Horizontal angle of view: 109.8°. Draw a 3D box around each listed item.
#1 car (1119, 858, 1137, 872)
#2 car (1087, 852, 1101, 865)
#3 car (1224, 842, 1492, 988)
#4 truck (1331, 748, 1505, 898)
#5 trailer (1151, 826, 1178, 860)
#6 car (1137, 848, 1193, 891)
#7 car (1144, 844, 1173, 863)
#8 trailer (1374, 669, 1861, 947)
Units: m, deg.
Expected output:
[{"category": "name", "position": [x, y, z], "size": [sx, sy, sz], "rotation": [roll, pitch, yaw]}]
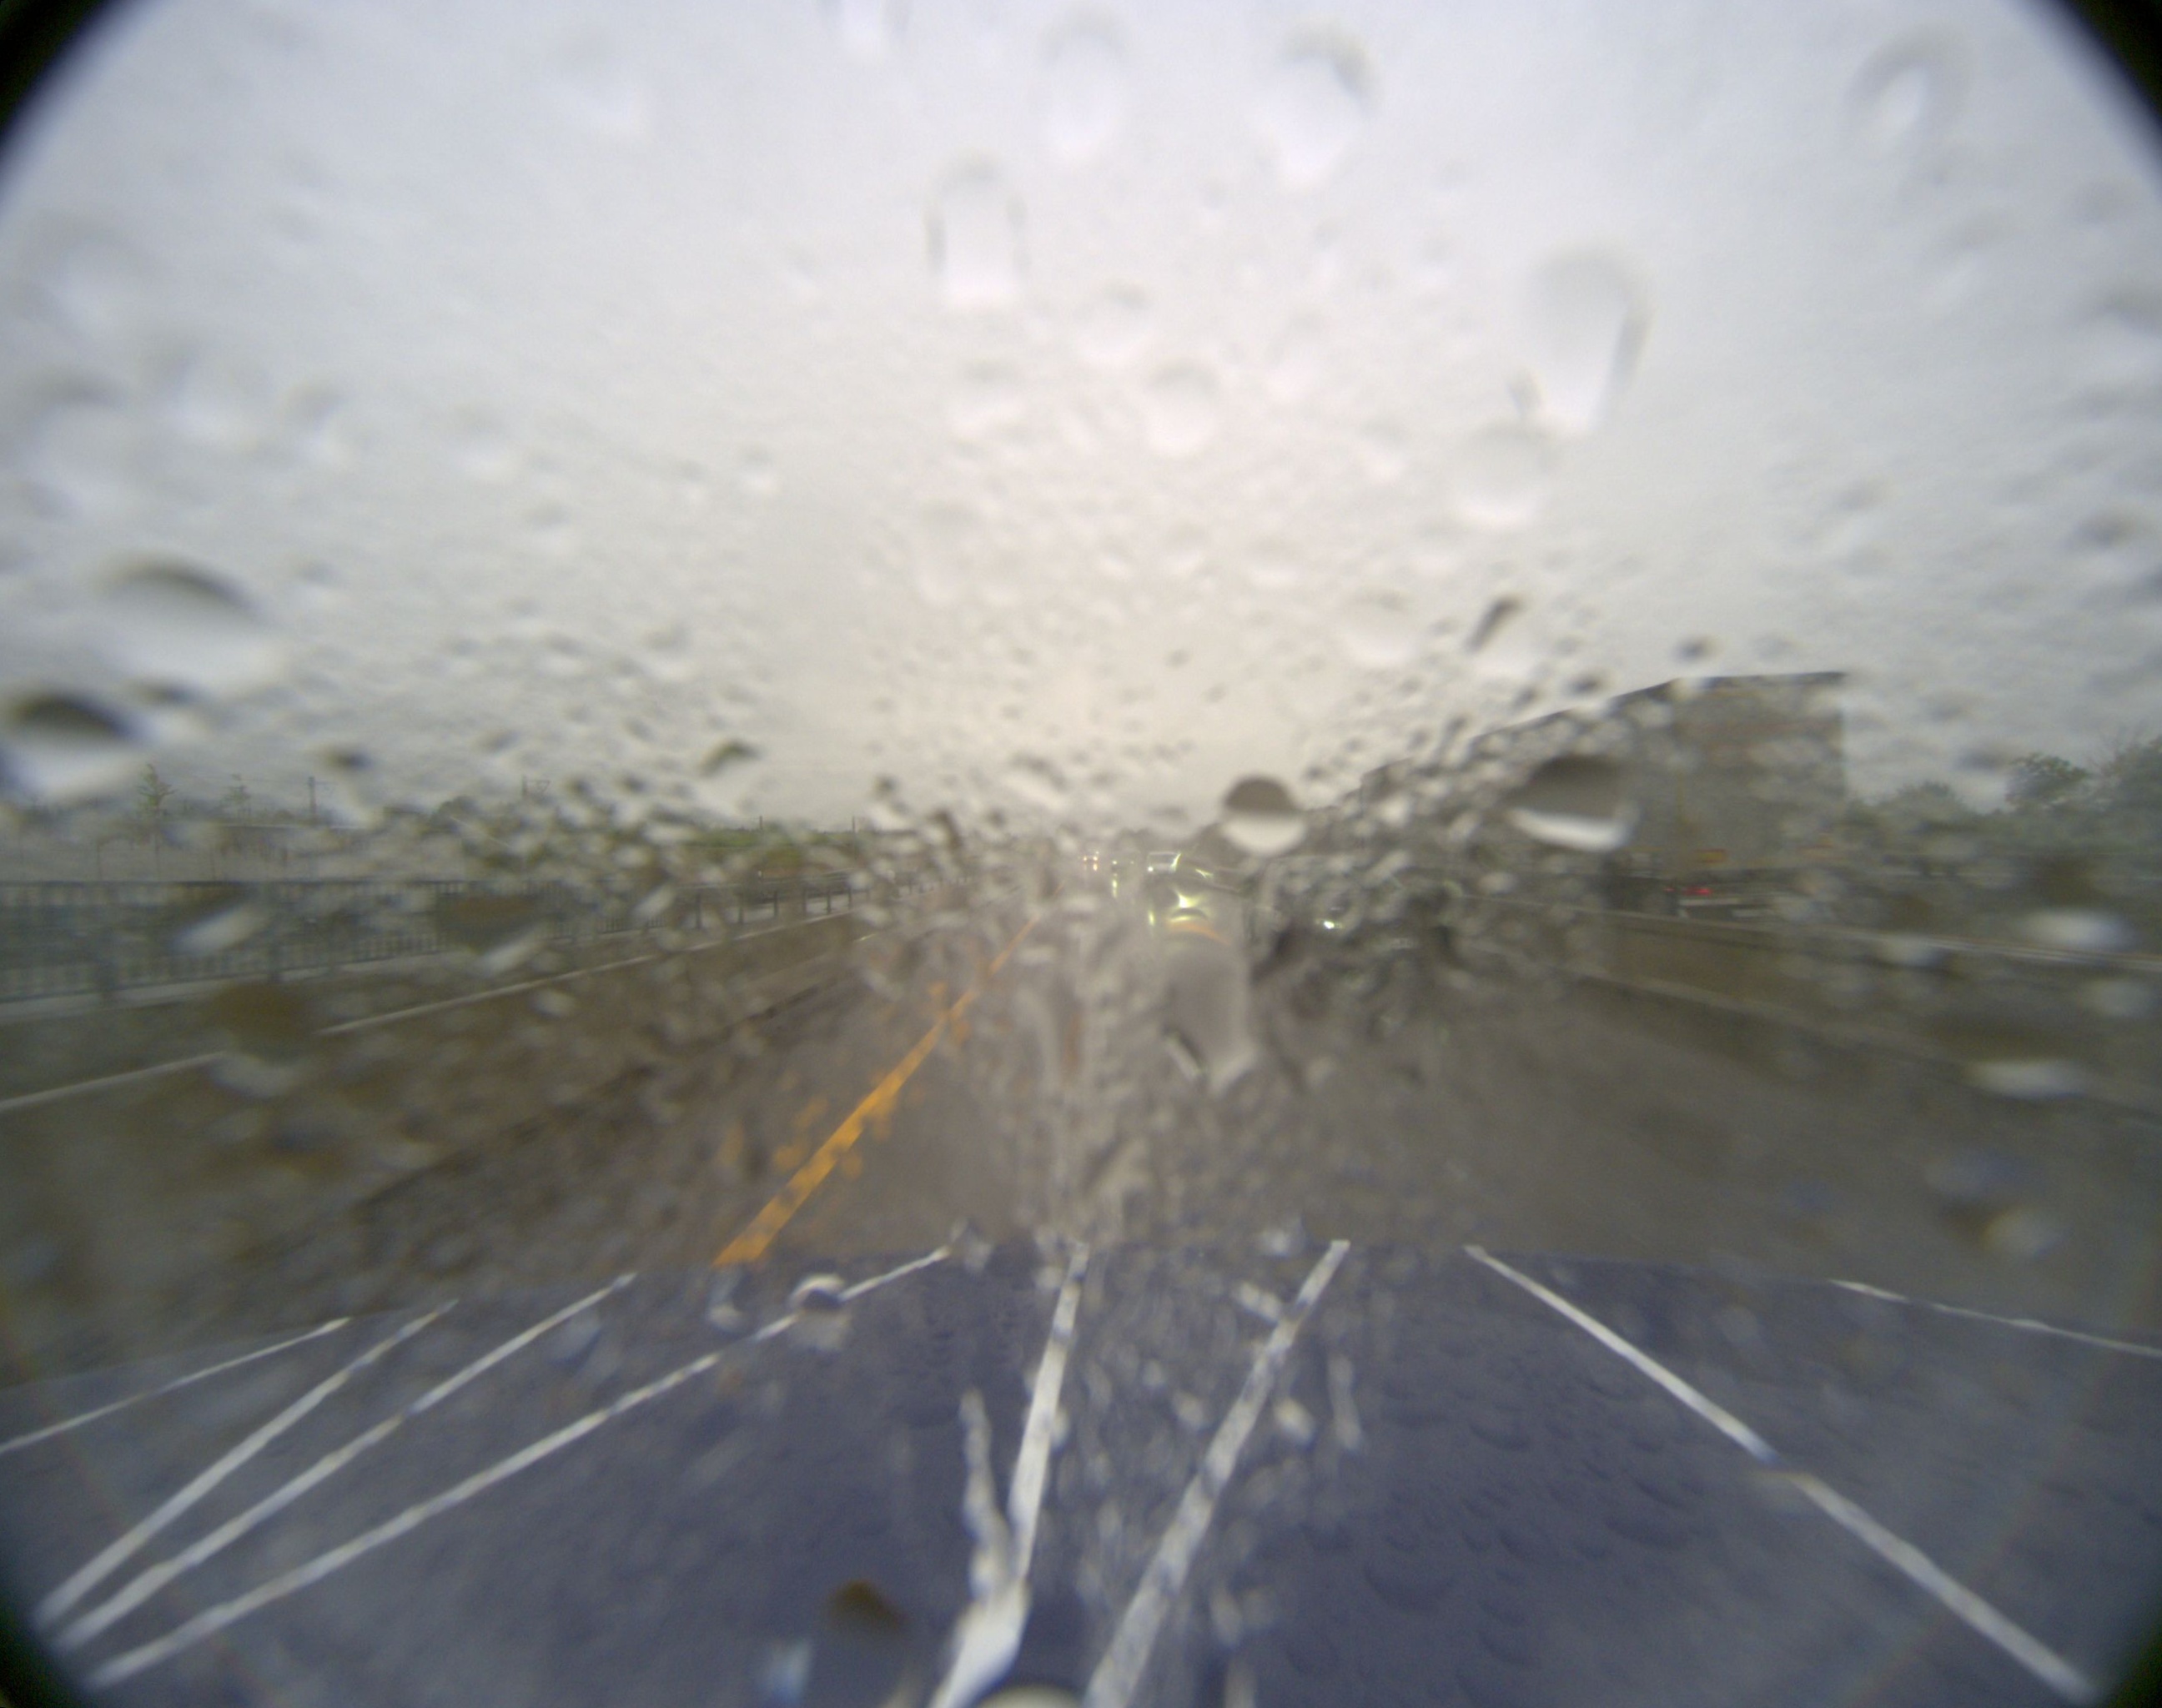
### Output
[{"category": "car", "position": [4.020, 0.920, 65.310], "size": [1.335, 1.105, 3.199], "rotation": [1, 0, 1]}, {"category": "car", "position": [1.843, 0.628, 111.020], "size": [1.998, 1.762, 3.999], "rotation": [-2, 1, 0]}, {"category": "car", "position": [3.417, 0.646, 10.525], "size": [1.944, 1.518, 4.795], "rotation": [-1, 0, 0]}, {"category": "truck", "position": [10.547, -0.913, 24.609], "size": [2.648, 4.103, 6.694], "rotation": [-2, 1, 1]}, {"category": "trailer", "position": [11.326, -1.474, 103.667], "size": [2.693, 4.253, 13.071], "rotation": [-2, 1, 3]}, {"category": "car", "position": [3.620, 0.641, 33.381], "size": [1.971, 1.670, 3.999], "rotation": [-2, 1, 0]}, {"category": "car", "position": [6.933, -0.080, 68.382], "size": [2.043, 1.498, 4.719], "rotation": [-2, 1, 1]}, {"category": "trailer", "position": [10.458, -0.786, 17.577], "size": [2.656, 4.085, 12.312], "rotation": [-2, 1, 1]}]
